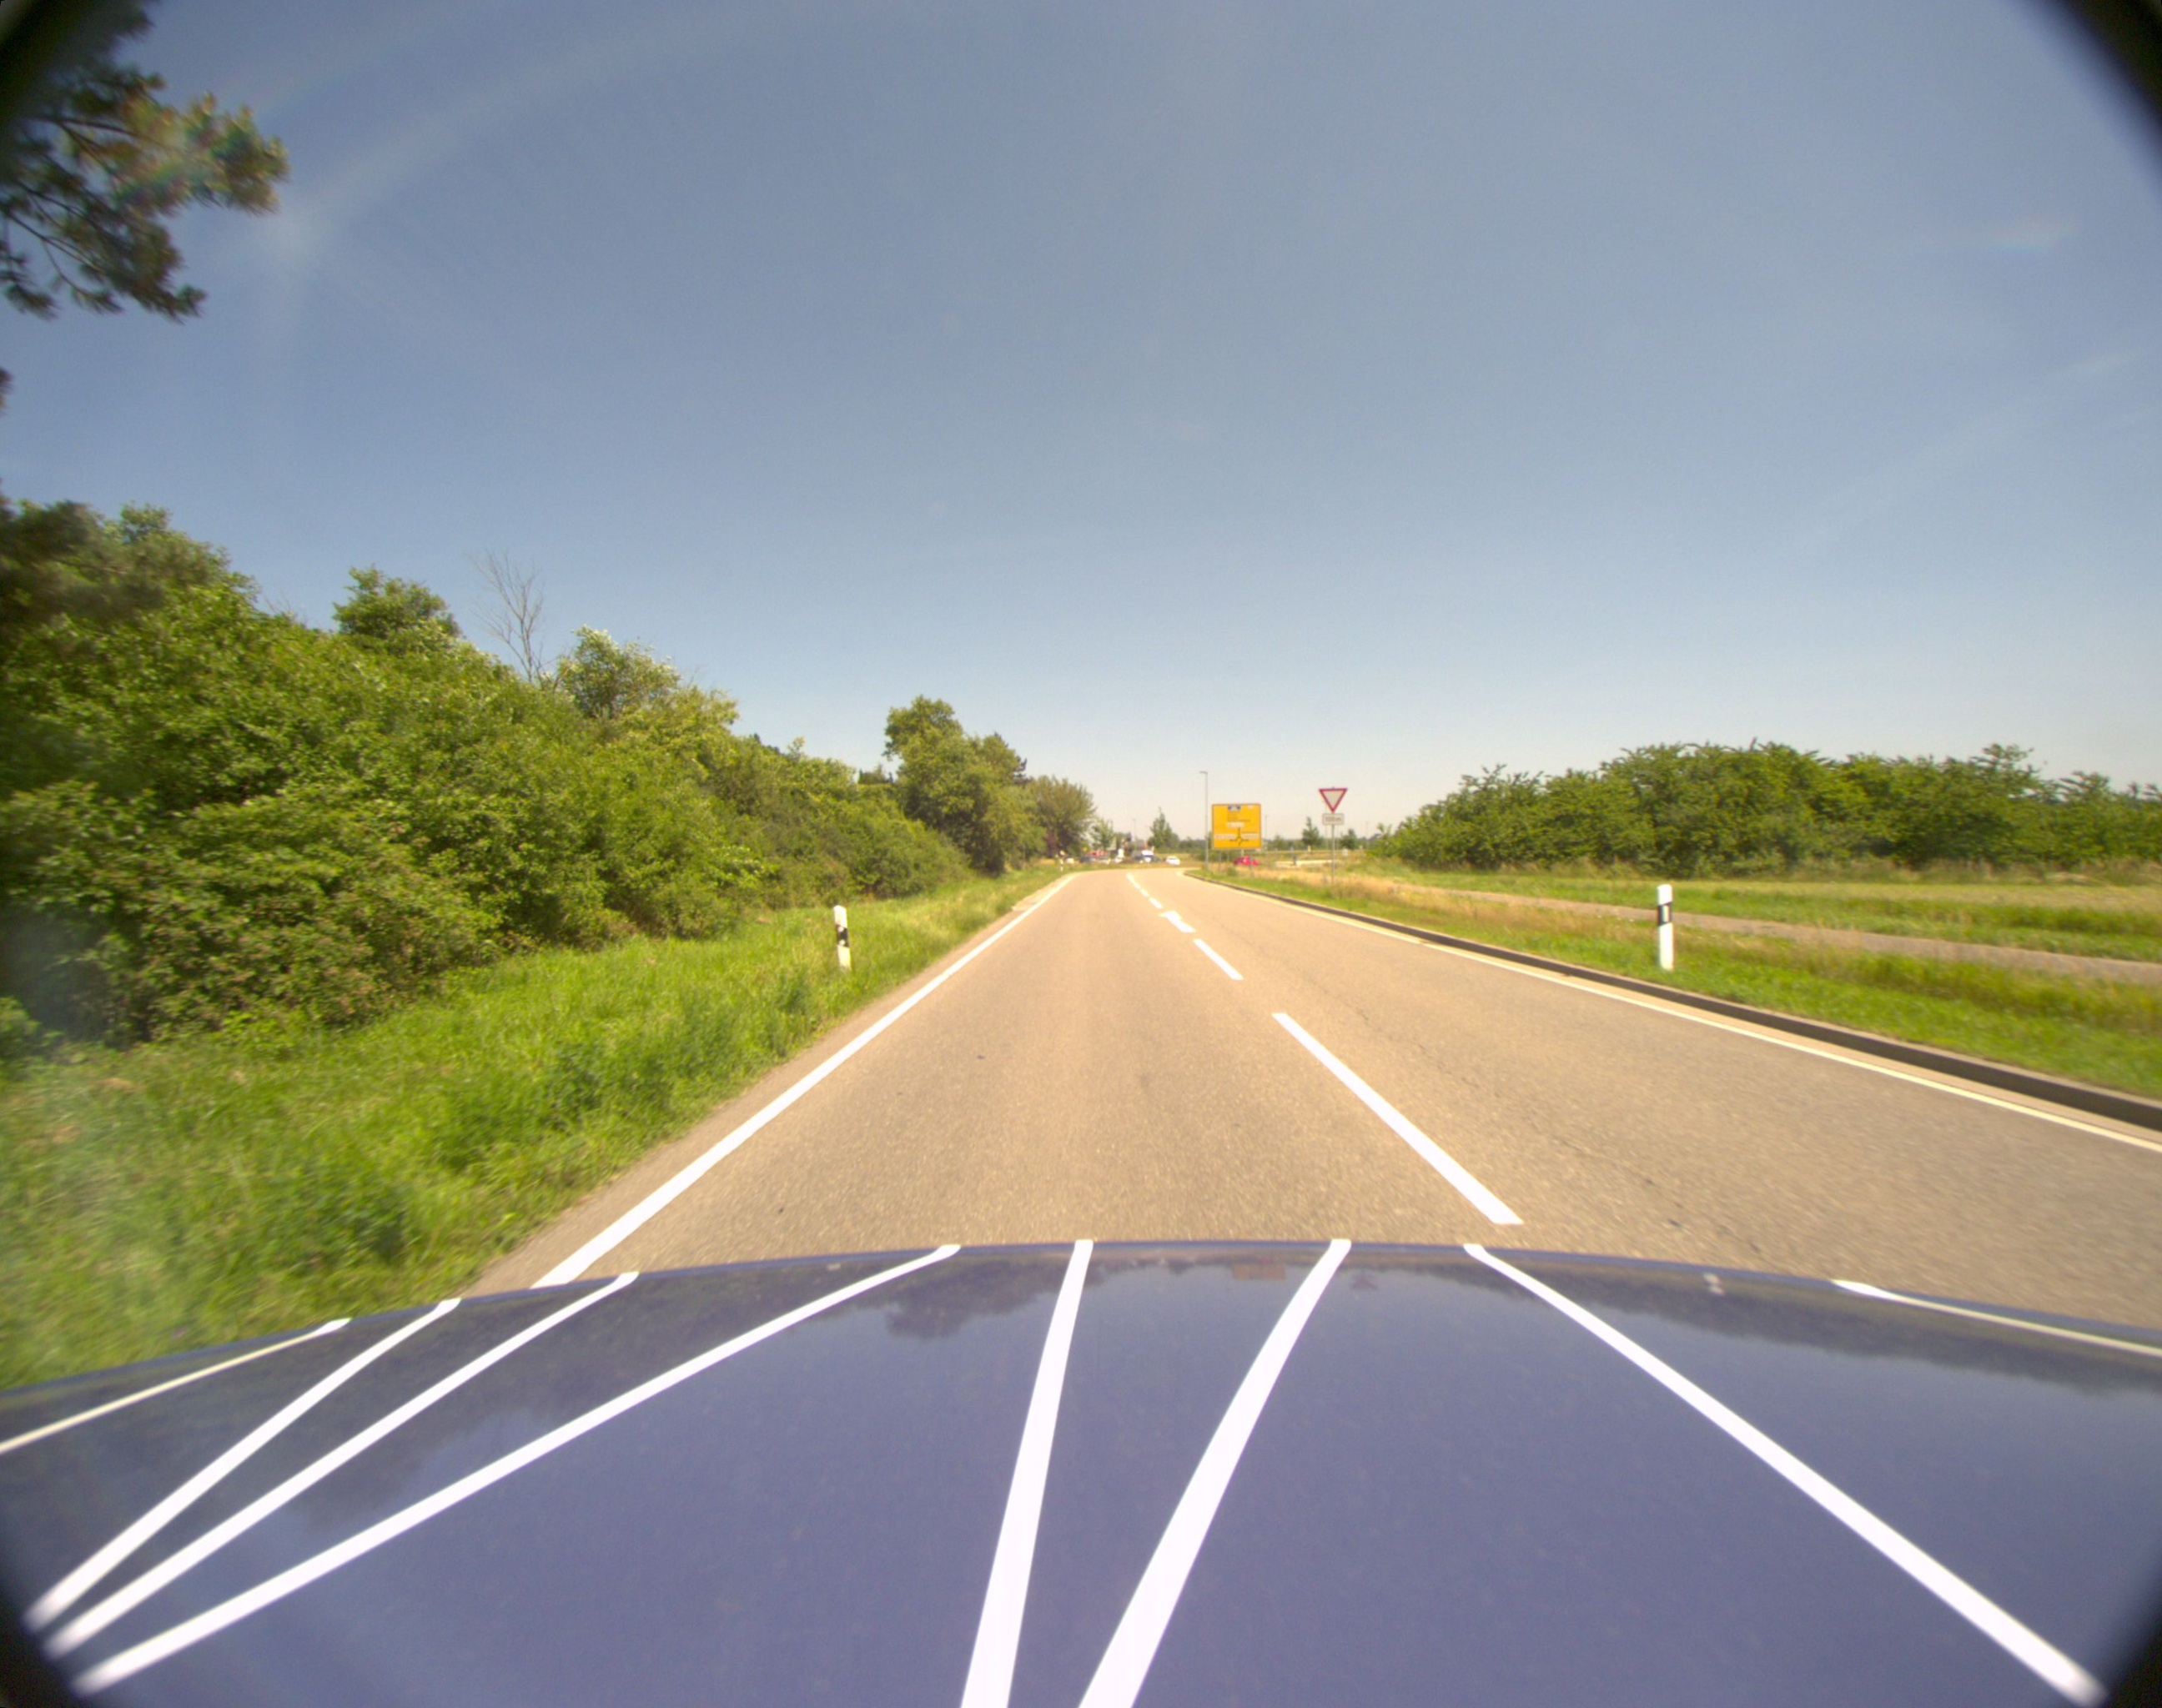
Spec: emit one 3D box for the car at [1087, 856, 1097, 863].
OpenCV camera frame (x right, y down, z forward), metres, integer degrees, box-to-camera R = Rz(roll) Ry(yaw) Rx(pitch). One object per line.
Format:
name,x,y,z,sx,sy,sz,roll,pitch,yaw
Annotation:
car,2.303,1.109,162.836,1.853,1.487,3.999,-1,0,-3

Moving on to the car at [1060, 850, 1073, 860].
car,-2.151,0.152,113.847,1.772,1.434,3.967,-1,-1,1

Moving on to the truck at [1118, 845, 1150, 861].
truck,8.520,-0.165,123.376,2.241,2.491,5.621,-1,1,-33

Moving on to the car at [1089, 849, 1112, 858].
car,5.684,-0.247,220.580,6.125,2.569,2.359,-1,0,13

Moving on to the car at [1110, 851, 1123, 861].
car,5.208,0.300,112.347,1.772,1.434,3.968,-1,-1,1

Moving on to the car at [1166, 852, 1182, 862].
car,13.808,0.407,112.708,1.746,1.419,3.999,-1,0,-1

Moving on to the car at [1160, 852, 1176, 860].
car,14.058,0.337,122.552,1.747,1.303,3.998,-1,0,-5

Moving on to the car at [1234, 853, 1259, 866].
car,19.012,0.653,87.388,1.656,1.425,3.744,1,0,31
